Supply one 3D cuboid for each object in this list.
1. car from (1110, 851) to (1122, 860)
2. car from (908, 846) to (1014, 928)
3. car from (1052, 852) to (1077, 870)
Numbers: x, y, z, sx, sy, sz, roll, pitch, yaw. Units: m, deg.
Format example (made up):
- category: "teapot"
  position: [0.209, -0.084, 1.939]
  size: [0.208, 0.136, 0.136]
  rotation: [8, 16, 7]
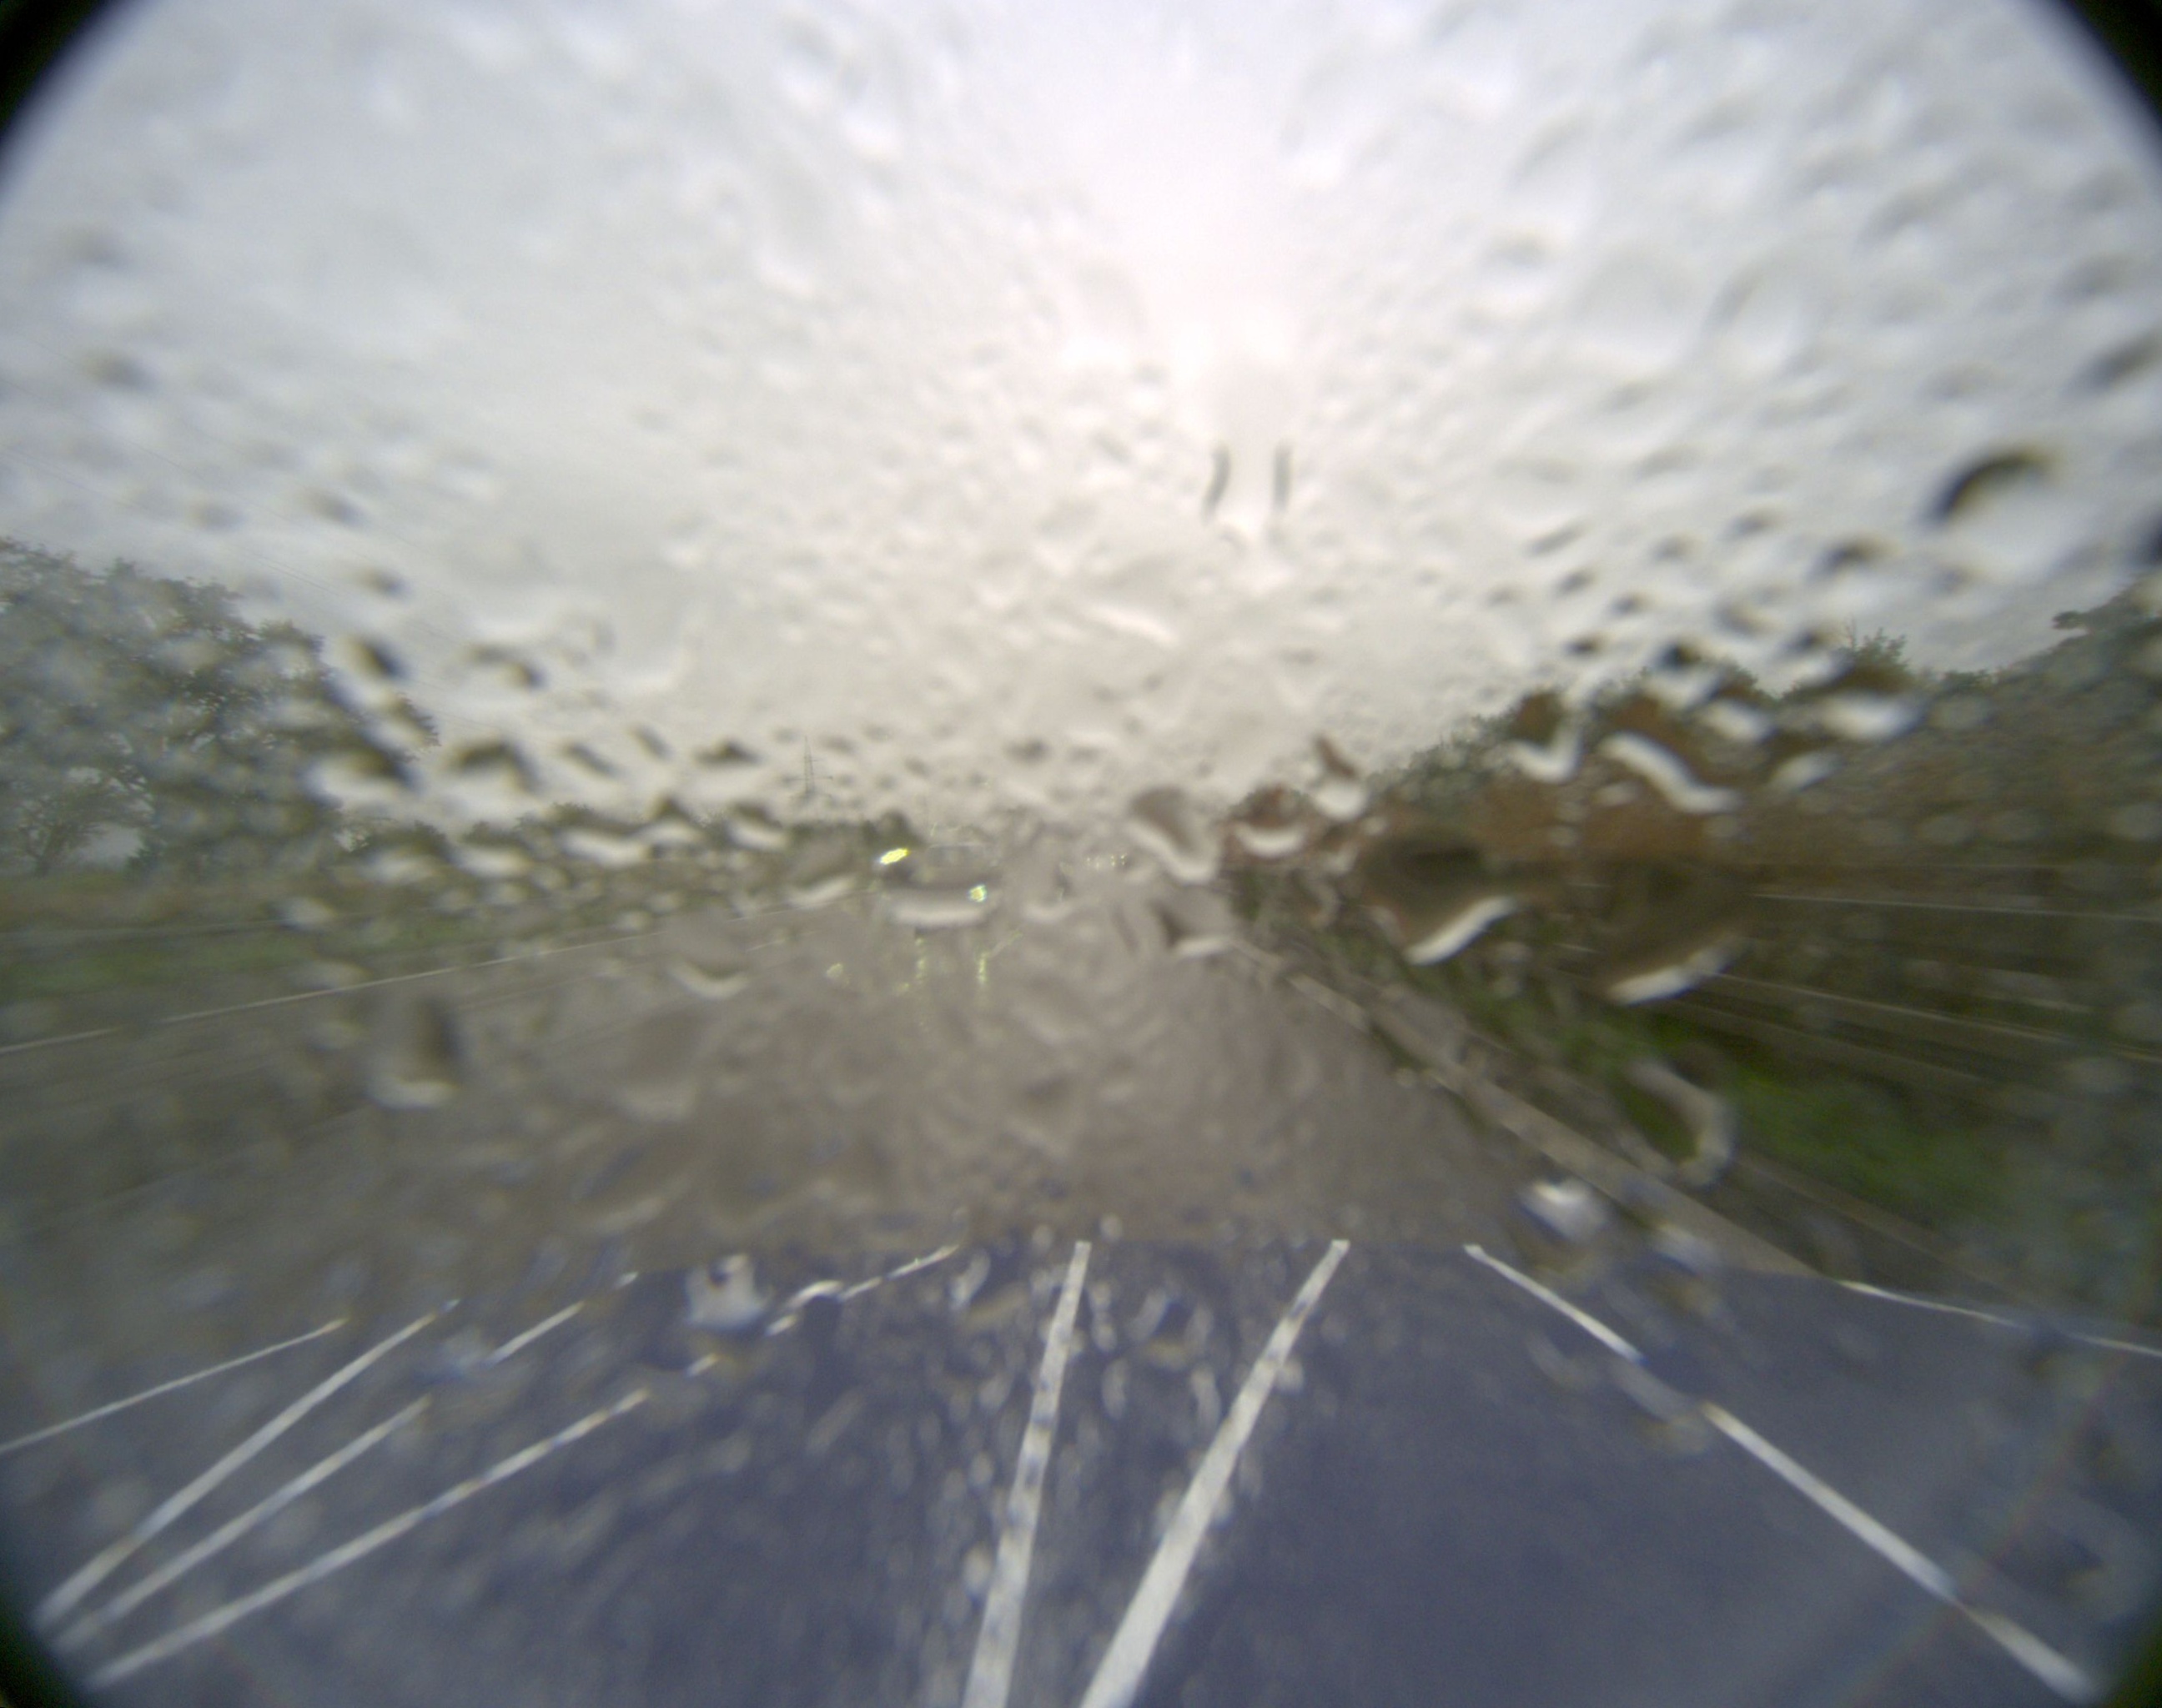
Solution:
- category: "car"
  position: [5.986, 0.230, 130.115]
  size: [1.769, 1.448, 3.960]
  rotation: [-4, 0, 4]
- category: "car"
  position: [-3.185, 0.809, 21.236]
  size: [1.892, 1.873, 5.009]
  rotation: [-4, 0, 2]
- category: "car"
  position: [-1.421, 0.625, 67.789]
  size: [1.769, 1.448, 3.960]
  rotation: [-4, 0, 4]
